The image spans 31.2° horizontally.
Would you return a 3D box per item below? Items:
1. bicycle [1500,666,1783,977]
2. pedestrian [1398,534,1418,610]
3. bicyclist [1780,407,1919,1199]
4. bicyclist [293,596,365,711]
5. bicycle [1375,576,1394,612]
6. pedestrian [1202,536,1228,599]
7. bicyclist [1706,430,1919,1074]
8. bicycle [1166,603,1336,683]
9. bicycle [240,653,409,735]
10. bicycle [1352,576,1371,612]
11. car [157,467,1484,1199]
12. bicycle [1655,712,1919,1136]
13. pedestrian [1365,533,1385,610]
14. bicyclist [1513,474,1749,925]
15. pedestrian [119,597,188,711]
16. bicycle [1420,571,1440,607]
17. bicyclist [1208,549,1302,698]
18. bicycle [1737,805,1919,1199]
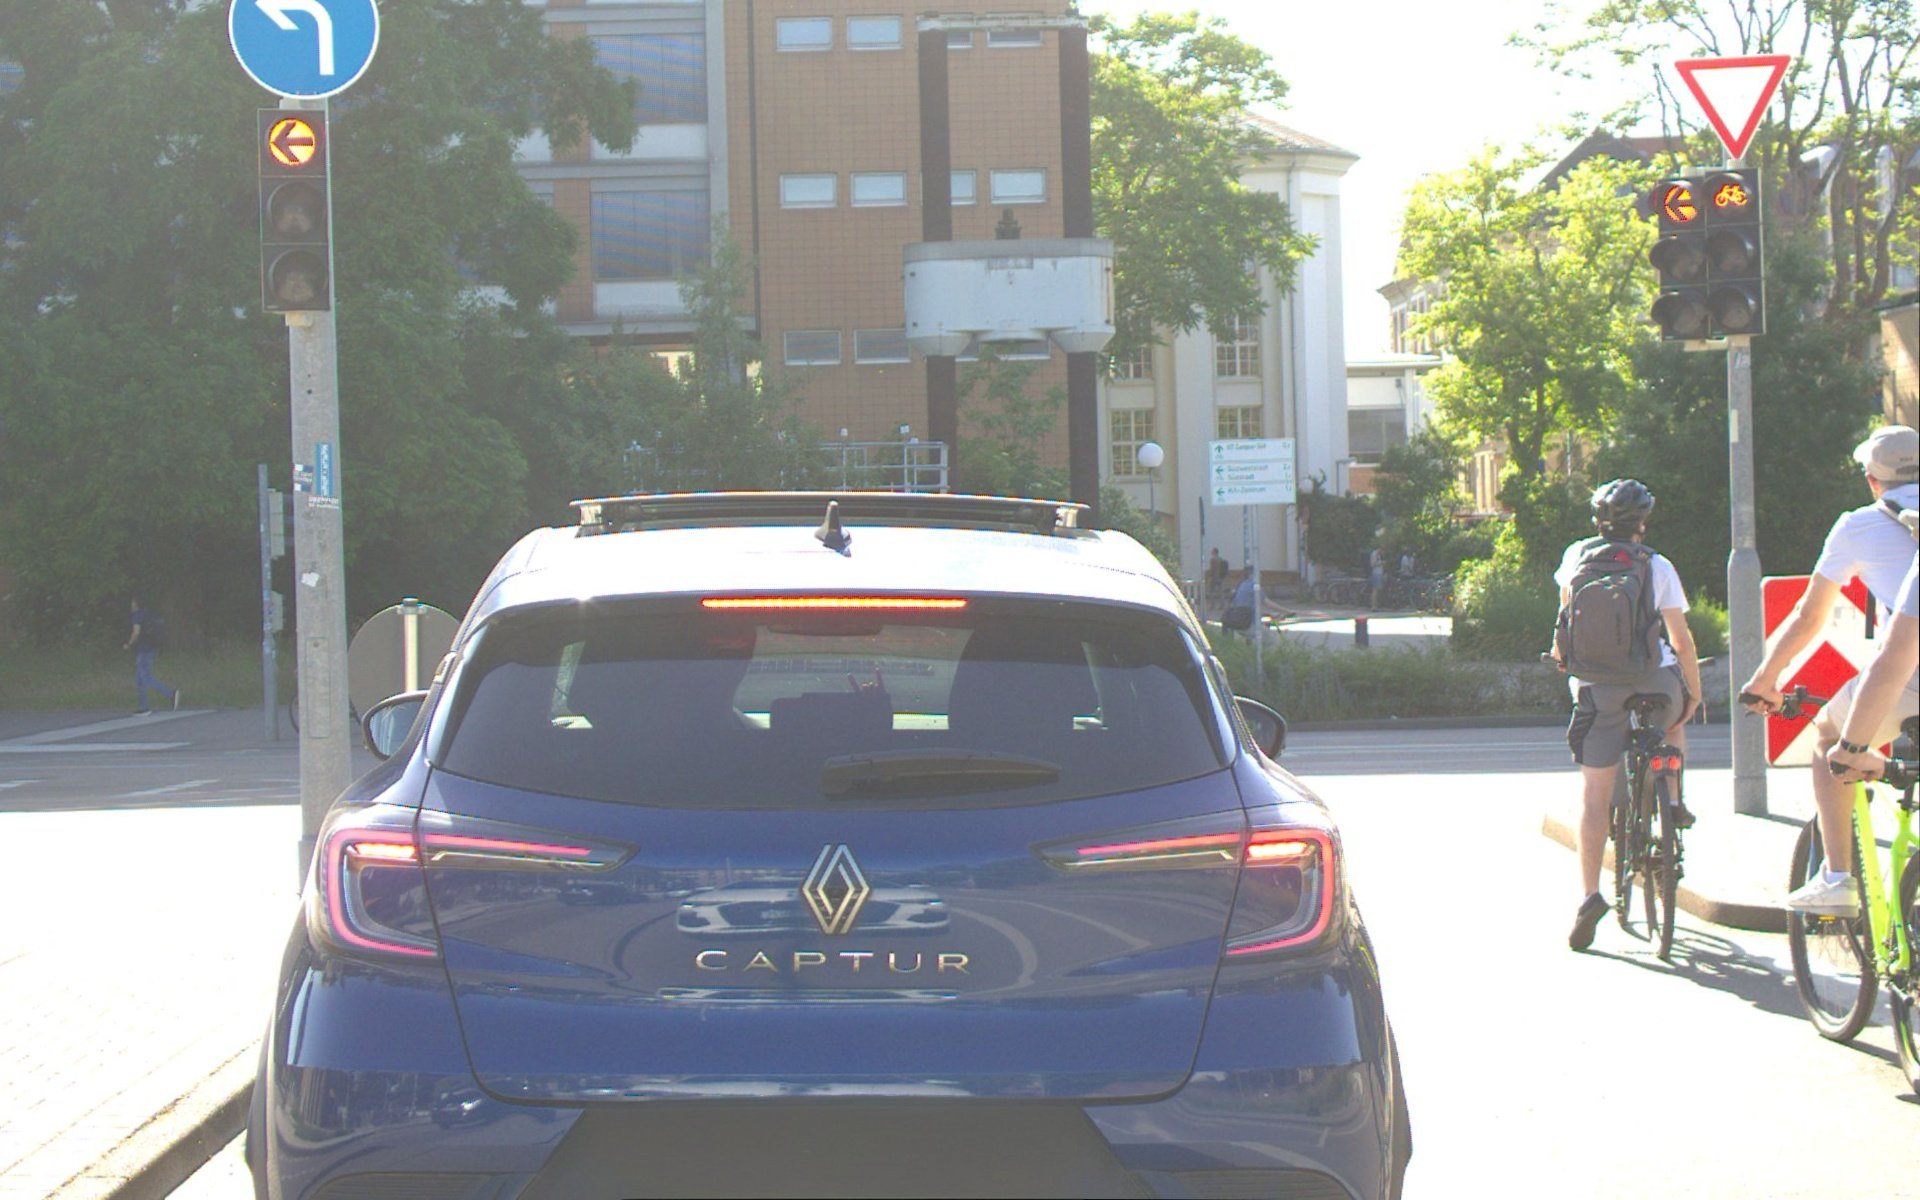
[{"bbox_3d":[2.512,0.782,12.897,0.739,0.992,2.173,1,1,3],"label":"bicycle"},{"bbox_3d":[12.036,-0.751,92.391,0.475,2.007,0.468,-1,1,6],"label":"pedestrian"},{"bbox_3d":[2.232,0.454,7.242,0.751,1.663,1.016,1,0,1],"label":"bicyclist"},{"bbox_3d":[-8.034,0.674,43.783,0.737,1.436,0.598,-2,1,-27],"label":"bicyclist"},{"bbox_3d":[11.611,-0.170,94.034,0.405,0.969,1.683,1,1,4],"label":"bicycle"},{"bbox_3d":[7.520,-0.950,101.371,0.623,1.849,0.563,-1,1,-9],"label":"pedestrian"},{"bbox_3d":[2.624,0.407,9.806,0.645,1.733,1.067,1,0,-6],"label":"bicyclist"},{"bbox_3d":[3.708,0.550,43.793,2.082,0.927,0.696,-2,2,10],"label":"bicycle"},{"bbox_3d":[-8.081,1.188,43.765,2.005,0.961,0.598,-2,1,-27],"label":"bicycle"},{"bbox_3d":[10.989,-0.179,94.077,0.405,0.969,1.683,1,1,4],"label":"bicycle"},{"bbox_3d":[-0.267,0.614,6.693,1.803,1.626,4.000,0,1,-2],"label":"car"},{"bbox_3d":[2.613,0.866,9.818,0.659,0.999,1.970,1,1,-6],"label":"bicycle"},{"bbox_3d":[10.979,-0.753,91.040,0.475,2.007,0.523,-1,1,6],"label":"pedestrian"},{"bbox_3d":[2.509,0.355,12.942,0.726,1.623,0.969,1,0,4],"label":"bicyclist"},{"bbox_3d":[-11.492,0.772,49.017,0.737,1.598,0.598,-1,1,12],"label":"pedestrian"},{"bbox_3d":[12.915,-0.299,94.413,0.405,0.969,1.683,1,1,4],"label":"bicycle"},{"bbox_3d":[3.754,0.289,43.695,1.102,1.861,0.652,-1,1,10],"label":"bicyclist"},{"bbox_3d":[2.229,0.953,7.253,0.740,0.893,1.978,1,1,1],"label":"bicycle"}]
